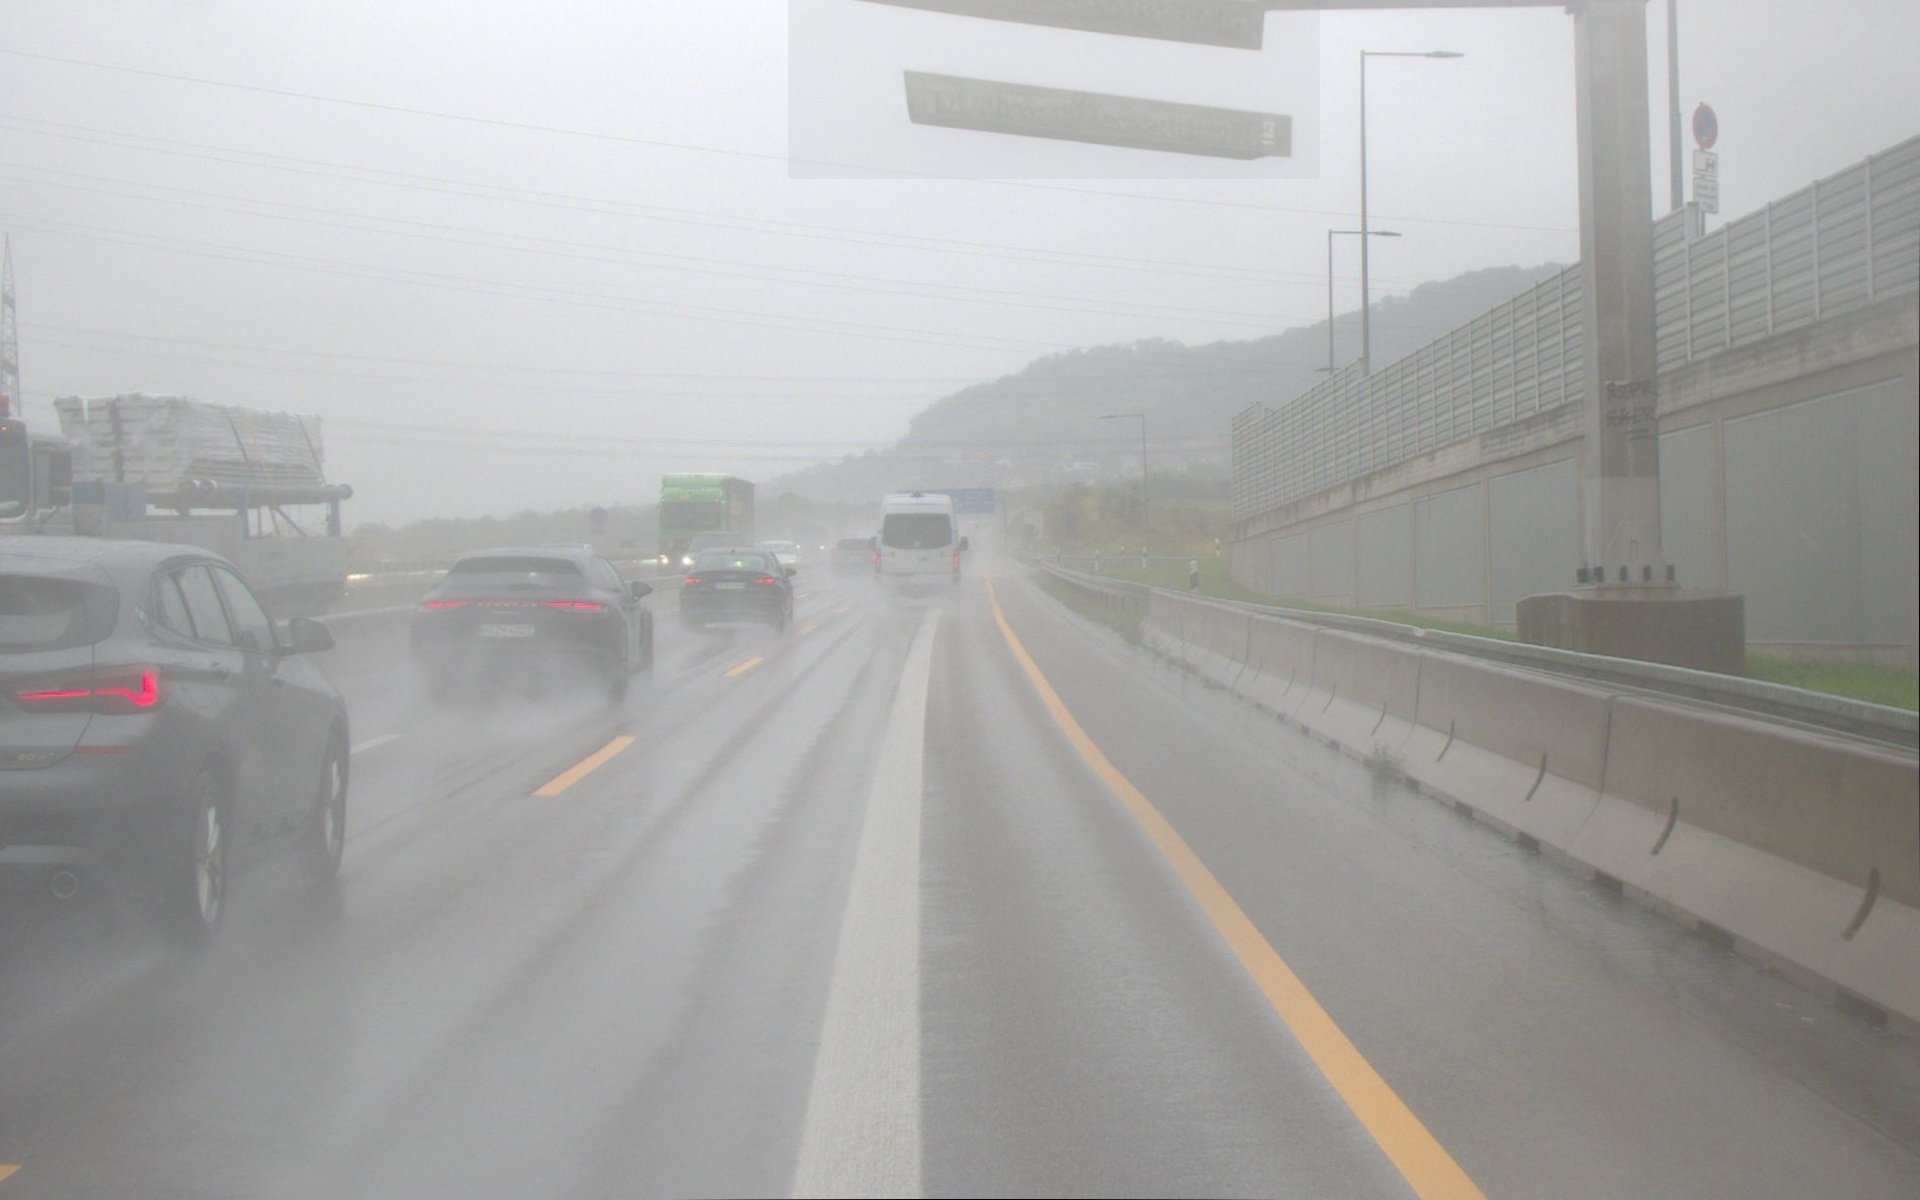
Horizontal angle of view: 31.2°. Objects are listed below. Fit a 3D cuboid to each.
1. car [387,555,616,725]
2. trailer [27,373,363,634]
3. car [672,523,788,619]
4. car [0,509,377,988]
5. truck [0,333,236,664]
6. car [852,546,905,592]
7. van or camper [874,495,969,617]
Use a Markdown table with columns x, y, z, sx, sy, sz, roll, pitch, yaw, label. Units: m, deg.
| x | y | z | sx | sy | sz | roll | pitch | yaw | label |
| --- | --- | --- | --- | --- | --- | --- | --- | --- | --- |
| -4.237 | 0.364 | 32.320 | 1.844 | 1.486 | 4.262 | 0 | 0 | -4 | car |
| -10.684 | -1.341 | 49.075 | 2.662 | 3.351 | 9.715 | 0 | 1 | 0 | trailer |
| -3.903 | -0.512 | 58.407 | 1.844 | 1.486 | 4.262 | -3 | 1 | -4 | car |
| -3.467 | 0.506 | 13.867 | 1.700 | 1.592 | 4.846 | 0 | 0 | -4 | car |
| -10.615 | -1.124 | 39.419 | 2.639 | 3.336 | 9.553 | 0 | 1 | 0 | truck |
| -2.899 | -1.093 | 122.366 | 1.566 | 1.475 | 2.822 | -3 | 0 | -7 | car |
| -0.928 | -0.991 | 80.465 | 1.996 | 2.768 | 4.050 | 0 | 0 | -4 | van or camper |
